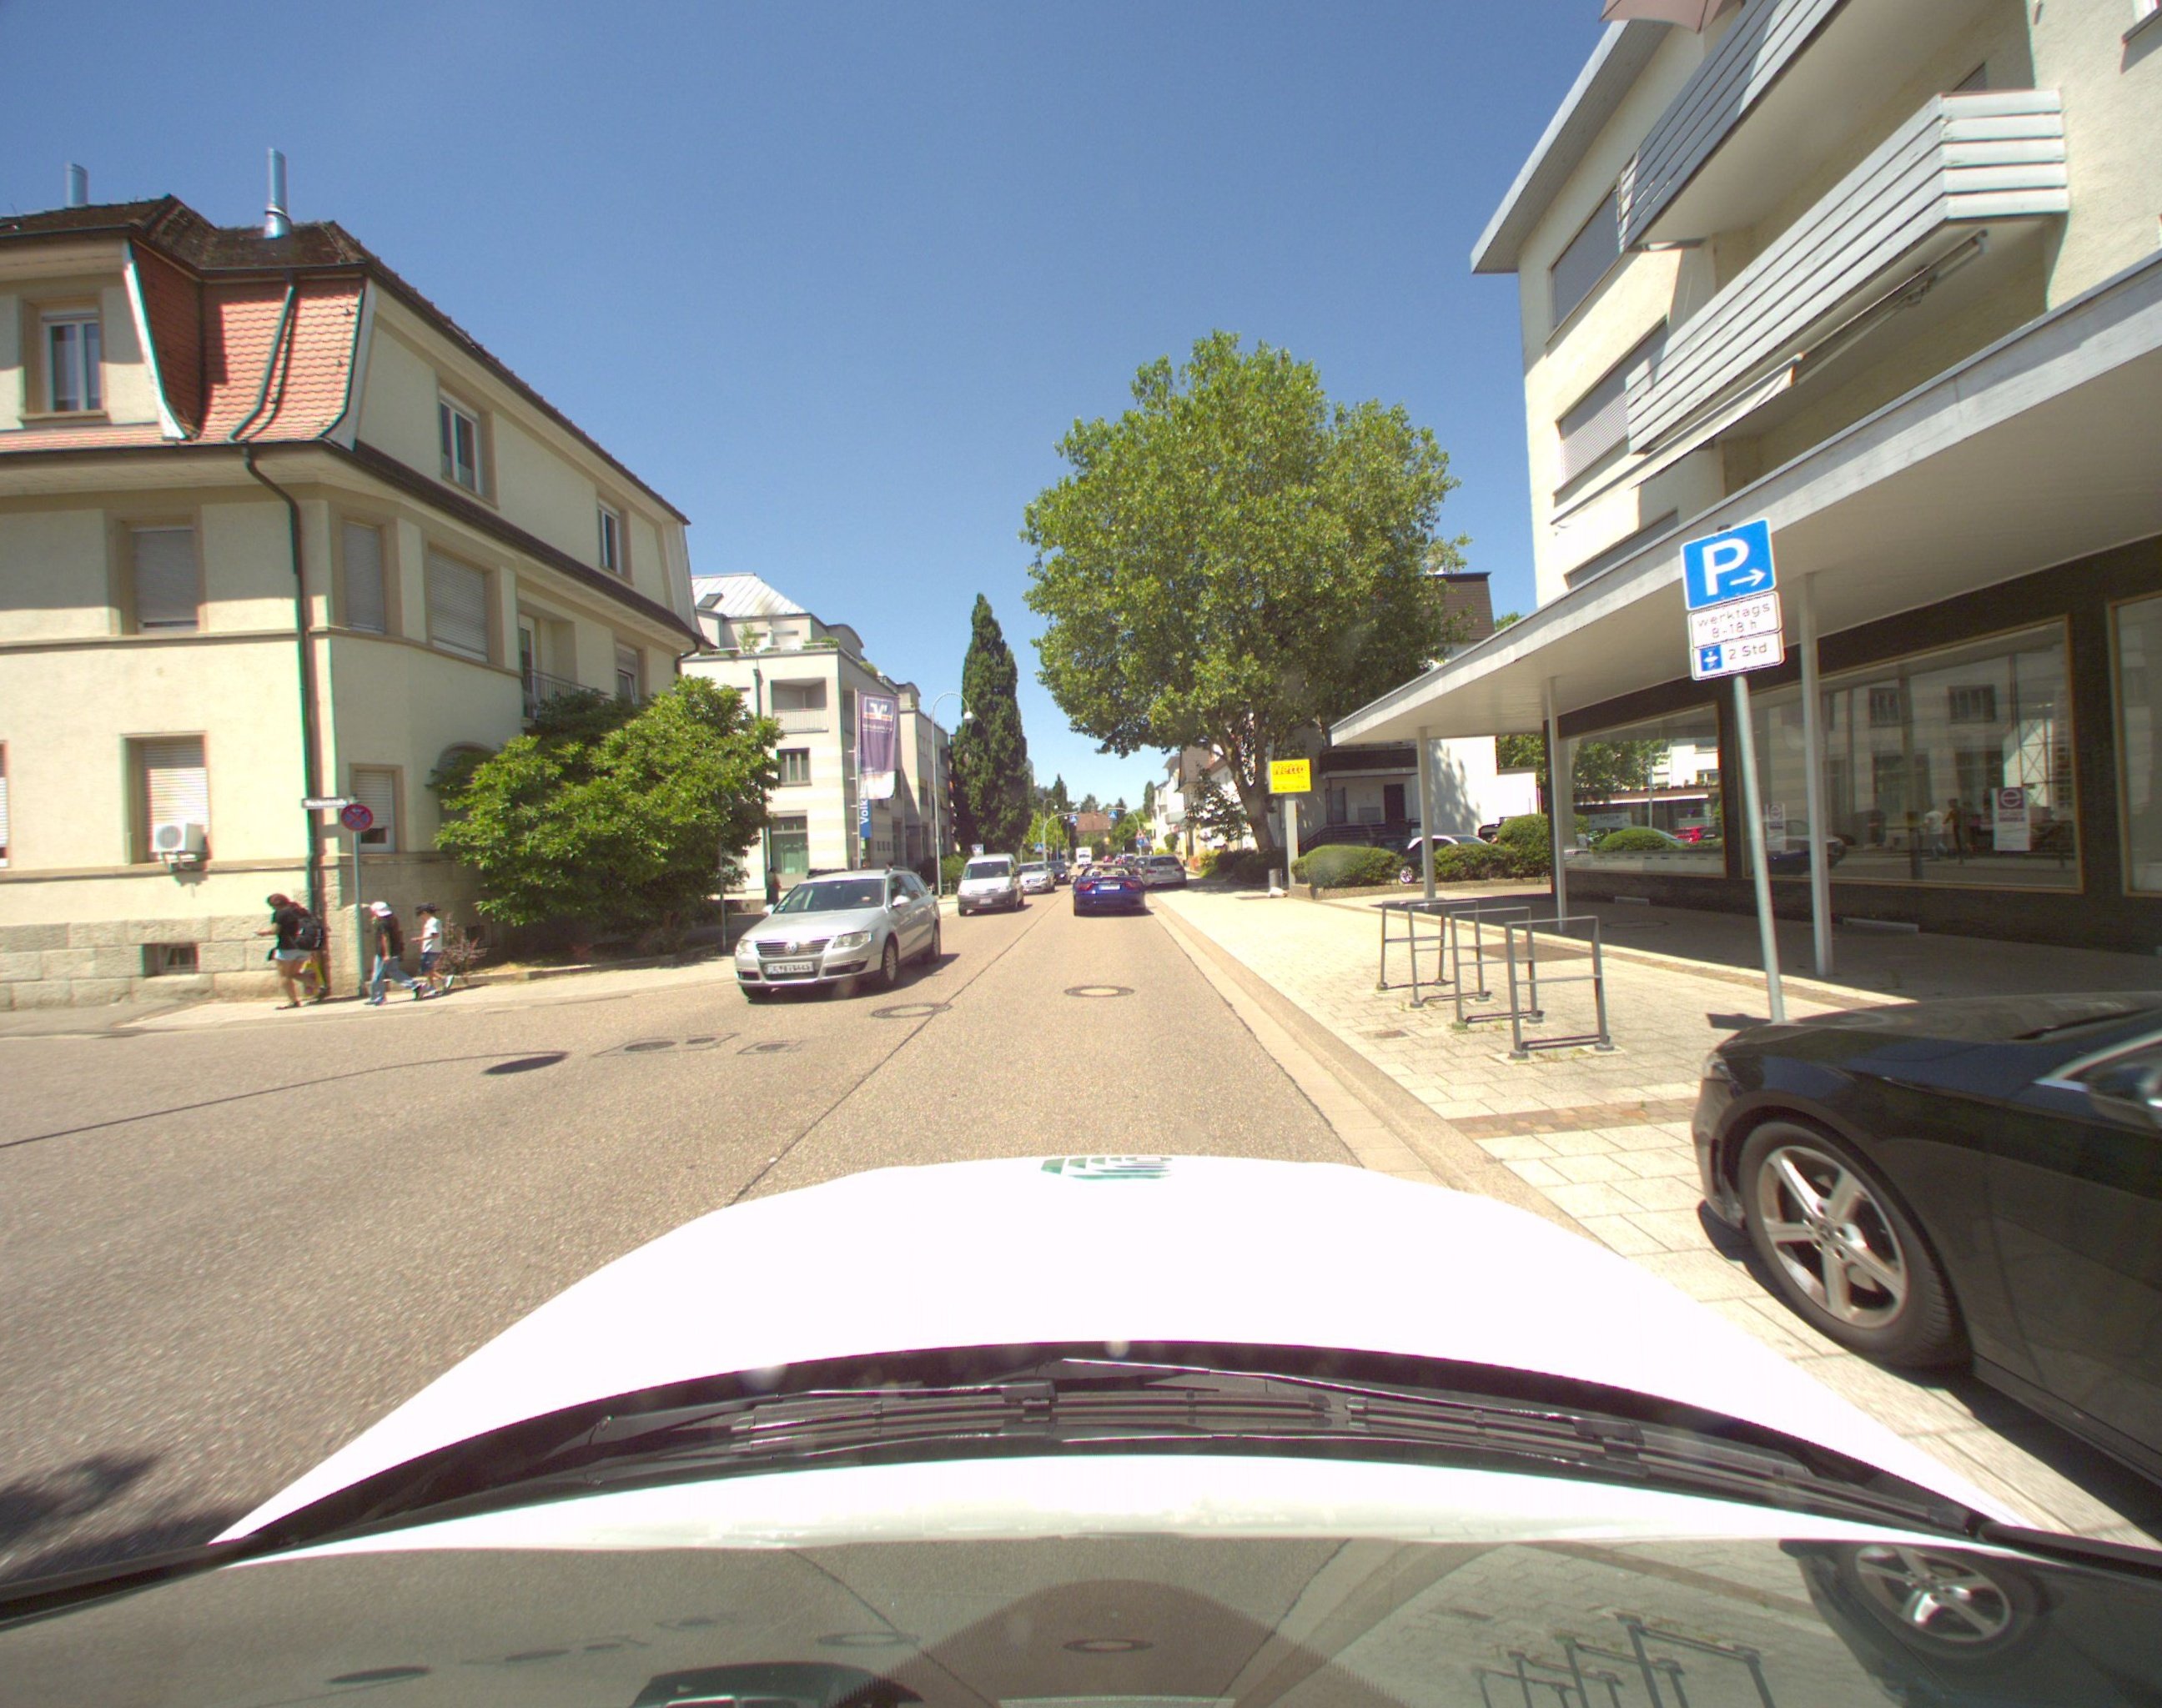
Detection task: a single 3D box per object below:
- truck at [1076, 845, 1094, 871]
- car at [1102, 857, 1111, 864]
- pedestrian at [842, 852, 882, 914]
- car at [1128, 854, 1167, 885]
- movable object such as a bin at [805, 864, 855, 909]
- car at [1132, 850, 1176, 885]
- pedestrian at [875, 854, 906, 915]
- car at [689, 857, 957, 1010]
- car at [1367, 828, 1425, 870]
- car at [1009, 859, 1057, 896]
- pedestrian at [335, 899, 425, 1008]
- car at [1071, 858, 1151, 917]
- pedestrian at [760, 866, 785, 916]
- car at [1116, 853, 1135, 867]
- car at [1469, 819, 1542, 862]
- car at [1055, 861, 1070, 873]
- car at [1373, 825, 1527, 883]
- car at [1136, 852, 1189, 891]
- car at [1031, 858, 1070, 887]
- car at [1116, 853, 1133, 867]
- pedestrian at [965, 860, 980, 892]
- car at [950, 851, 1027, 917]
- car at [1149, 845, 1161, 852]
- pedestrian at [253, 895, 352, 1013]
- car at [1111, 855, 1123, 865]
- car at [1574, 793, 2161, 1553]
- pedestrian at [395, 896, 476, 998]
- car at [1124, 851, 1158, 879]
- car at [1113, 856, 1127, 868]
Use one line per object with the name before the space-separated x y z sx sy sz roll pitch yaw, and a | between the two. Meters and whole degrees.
truck | 0.569 0.582 120.079 2.413 3.482 7.002 -4 0 0
car | 5.405 1.404 171.789 1.763 1.476 4.138 -3 -1 1
pedestrian | -6.304 0.832 23.436 0.882 1.749 0.818 -1 -2 1
car | 3.899 0.878 48.454 1.969 1.556 4.351 -5 1 2
movable object such as a bin | -9.296 1.179 30.243 1.353 1.494 1.296 -4 2 -2
car | 3.783 0.690 43.099 1.969 1.556 4.351 -5 1 2
pedestrian | -5.474 0.876 23.404 0.629 1.691 0.962 -1 -2 1
car | -3.173 0.913 11.238 1.942 1.509 4.797 -4 -1 1
car | 12.732 -0.220 33.109 1.829 1.453 4.019 -6 -1 18
car | -2.172 1.026 37.845 1.763 1.476 4.138 -4 0 1
pedestrian | -9.697 1.354 11.296 0.597 1.371 0.691 -5 2 -15
car | 0.765 0.859 22.726 1.970 1.398 4.626 -2 0 0
pedestrian | -10.222 1.234 27.027 0.679 1.623 0.712 -1 -2 -14
car | 5.112 0.664 93.157 1.944 1.476 4.138 -4 0 1
car | 16.985 -0.527 32.745 1.829 1.453 4.019 -6 -1 18
car | -2.567 1.866 114.001 1.945 1.476 4.136 -4 0 0
car | 11.251 0.050 25.141 1.854 1.453 3.965 -5 -1 -26
car | 3.553 0.733 36.208 1.969 1.450 4.351 -5 1 2
car | -1.757 1.060 48.524 1.944 1.476 4.138 -4 0 1
car | 5.329 0.746 100.056 1.944 1.476 4.138 -4 0 1
pedestrian | -5.559 1.130 41.602 0.585 1.574 0.781 -3 0 1
car | -2.812 0.861 25.614 1.764 1.767 4.137 -4 0 0
car | 20.250 -1.505 222.131 1.933 1.476 4.160 -4 0 22
pedestrian | -11.012 1.394 11.542 0.595 1.529 0.694 -4 2 -3
car | 6.105 0.992 138.155 1.944 1.476 4.138 -4 0 1
car | 2.890 0.539 1.188 1.838 1.414 4.164 -4 -1 2
pedestrian | -9.555 1.358 12.076 0.597 1.371 0.691 -5 2 -13
car | 3.958 0.706 54.630 1.969 1.556 4.351 -5 1 2
car | 5.790 1.176 121.416 1.944 1.476 4.138 -4 0 1
